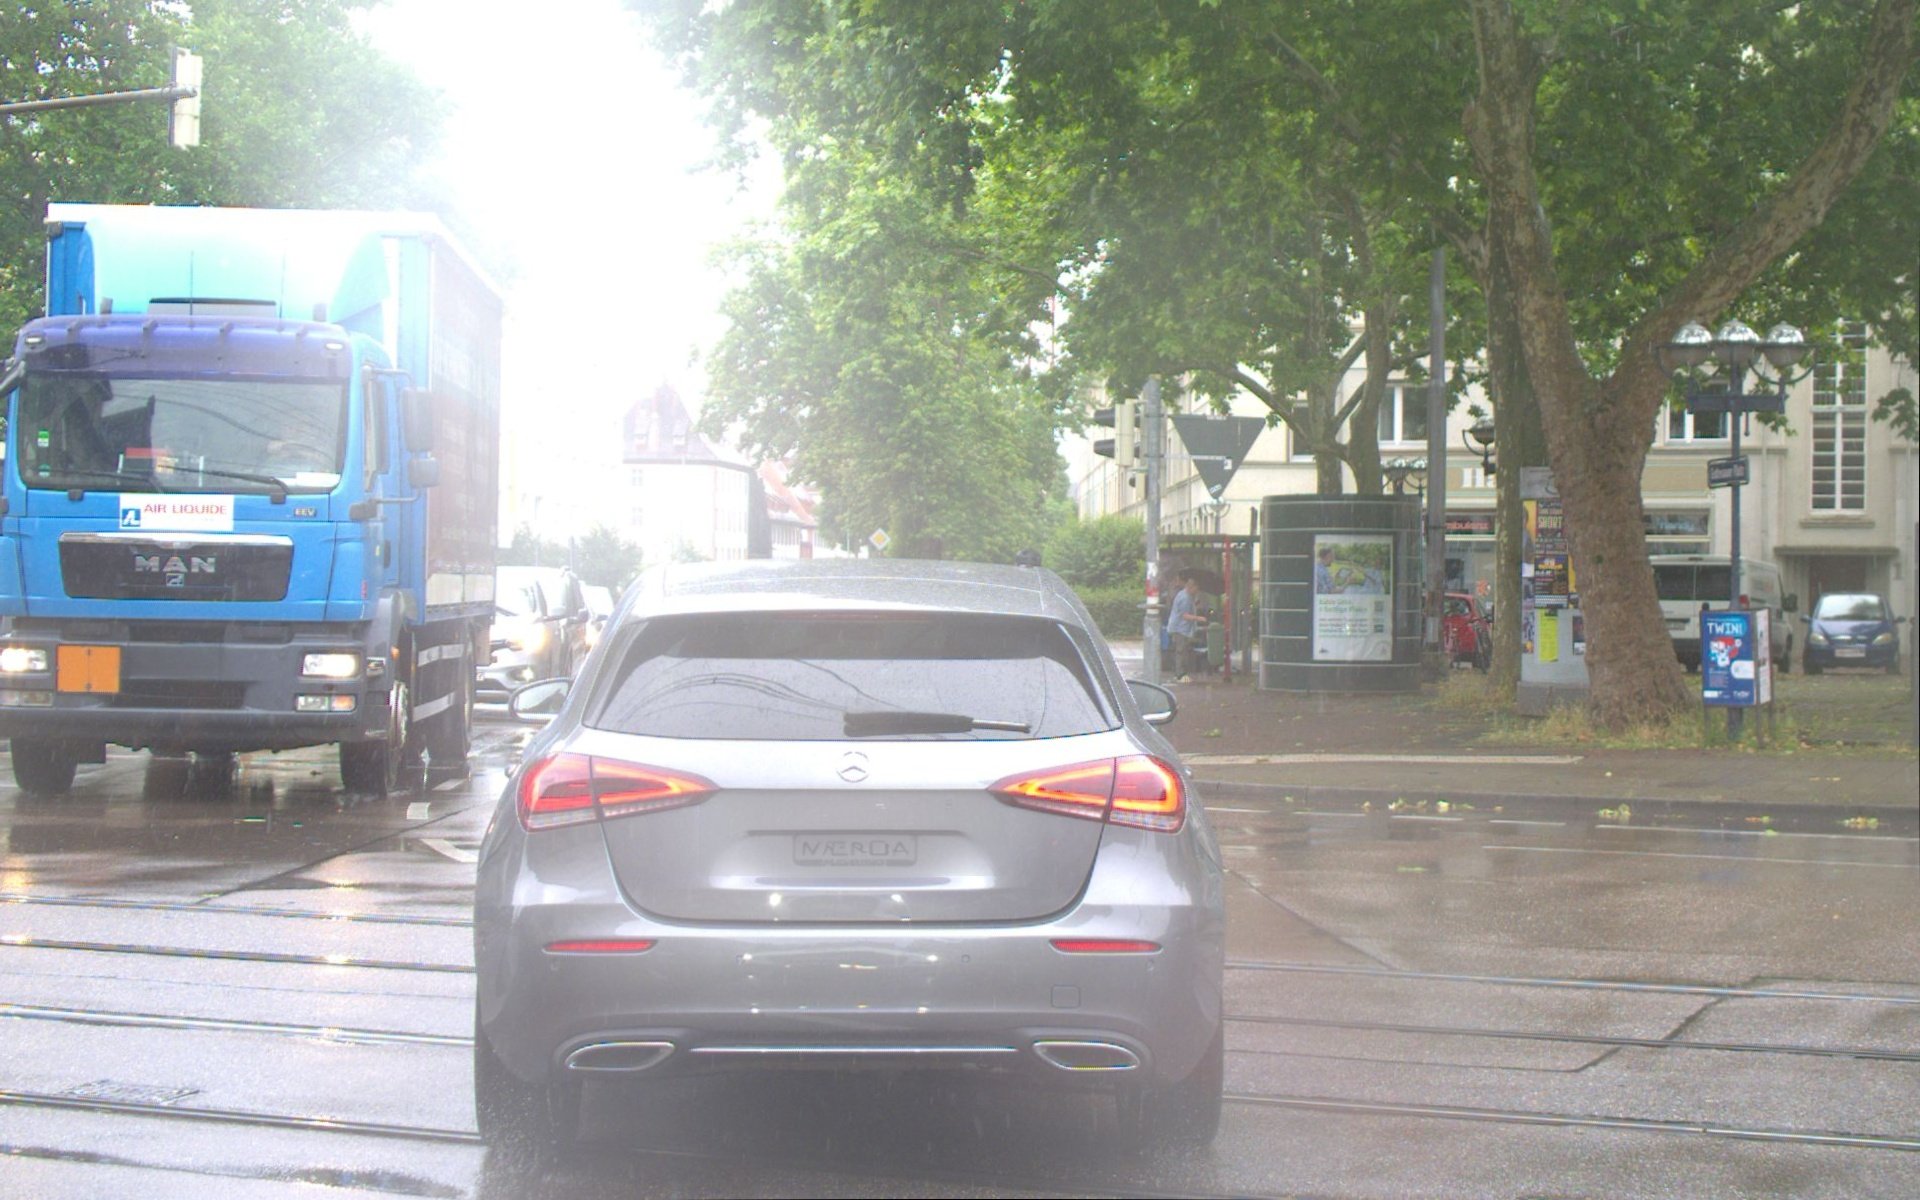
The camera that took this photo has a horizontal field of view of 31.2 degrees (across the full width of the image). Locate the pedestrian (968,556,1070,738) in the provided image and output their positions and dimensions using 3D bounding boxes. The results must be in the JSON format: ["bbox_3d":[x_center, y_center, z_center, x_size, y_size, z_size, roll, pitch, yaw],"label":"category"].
[{"bbox_3d":[0.468,0.356,26.830,0.744,1.393,1.047,0,0,4],"label":"pedestrian"}]

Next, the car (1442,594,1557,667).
[{"bbox_3d":[10.618,0.611,67.491,1.584,1.332,3.258,0,-2,21],"label":"car"}]

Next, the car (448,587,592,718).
[{"bbox_3d":[-6.519,0.747,51.276,1.806,1.855,4.110,1,0,-3],"label":"car"}]

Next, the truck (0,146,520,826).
[{"bbox_3d":[-5.004,-0.715,25.487,2.845,4.011,10.318,0,0,-4],"label":"truck"}]

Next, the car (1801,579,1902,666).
[{"bbox_3d":[16.898,0.431,65.072,1.681,1.570,3.732,1,-1,17],"label":"car"}]

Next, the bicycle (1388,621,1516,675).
[{"bbox_3d":[9.013,0.875,62.952,2.254,0.965,0.534,1,0,20],"label":"bicycle"}]

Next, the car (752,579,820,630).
[{"bbox_3d":[-5.494,0.142,108.198,1.993,1.568,4.001,0,0,-4],"label":"car"}]

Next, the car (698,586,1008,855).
[{"bbox_3d":[-0.676,0.617,19.881,1.607,1.368,4.001,0,1,-3],"label":"car"}]

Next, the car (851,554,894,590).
[{"bbox_3d":[-4.494,-1.431,176.546,2.046,1.830,4.792,0,0,0],"label":"car"}]

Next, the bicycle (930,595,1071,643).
[{"bbox_3d":[0.970,0.468,81.999,3.205,1.108,1.054,0,-2,-22],"label":"bicycle"}]

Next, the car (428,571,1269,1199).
[{"bbox_3d":[-0.344,0.636,9.248,1.791,1.368,3.507,2,0,-3],"label":"car"}]

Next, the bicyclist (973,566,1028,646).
[{"bbox_3d":[0.959,0.153,81.952,0.938,1.862,1.143,0,-2,-21],"label":"bicyclist"}]

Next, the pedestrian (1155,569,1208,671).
[{"bbox_3d":[3.627,0.324,56.289,0.716,1.663,0.665,1,0,-9],"label":"pedestrian"}]

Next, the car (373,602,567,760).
[{"bbox_3d":[-5.305,0.844,37.646,1.742,1.598,4.000,1,0,-3],"label":"car"}]

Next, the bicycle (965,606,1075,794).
[{"bbox_3d":[0.494,0.754,27.093,0.749,1.372,2.707,0,0,3],"label":"bicycle"}]

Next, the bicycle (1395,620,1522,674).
[{"bbox_3d":[9.218,0.865,63.575,2.249,0.965,0.584,1,0,20],"label":"bicycle"}]

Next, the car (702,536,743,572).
[{"bbox_3d":[-12.686,-2.438,183.681,1.889,1.830,4.000,0,0,0],"label":"car"}]

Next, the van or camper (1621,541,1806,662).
[{"bbox_3d":[14.575,0.023,66.274,2.399,2.224,5.422,0,0,24],"label":"van or camper"}]
